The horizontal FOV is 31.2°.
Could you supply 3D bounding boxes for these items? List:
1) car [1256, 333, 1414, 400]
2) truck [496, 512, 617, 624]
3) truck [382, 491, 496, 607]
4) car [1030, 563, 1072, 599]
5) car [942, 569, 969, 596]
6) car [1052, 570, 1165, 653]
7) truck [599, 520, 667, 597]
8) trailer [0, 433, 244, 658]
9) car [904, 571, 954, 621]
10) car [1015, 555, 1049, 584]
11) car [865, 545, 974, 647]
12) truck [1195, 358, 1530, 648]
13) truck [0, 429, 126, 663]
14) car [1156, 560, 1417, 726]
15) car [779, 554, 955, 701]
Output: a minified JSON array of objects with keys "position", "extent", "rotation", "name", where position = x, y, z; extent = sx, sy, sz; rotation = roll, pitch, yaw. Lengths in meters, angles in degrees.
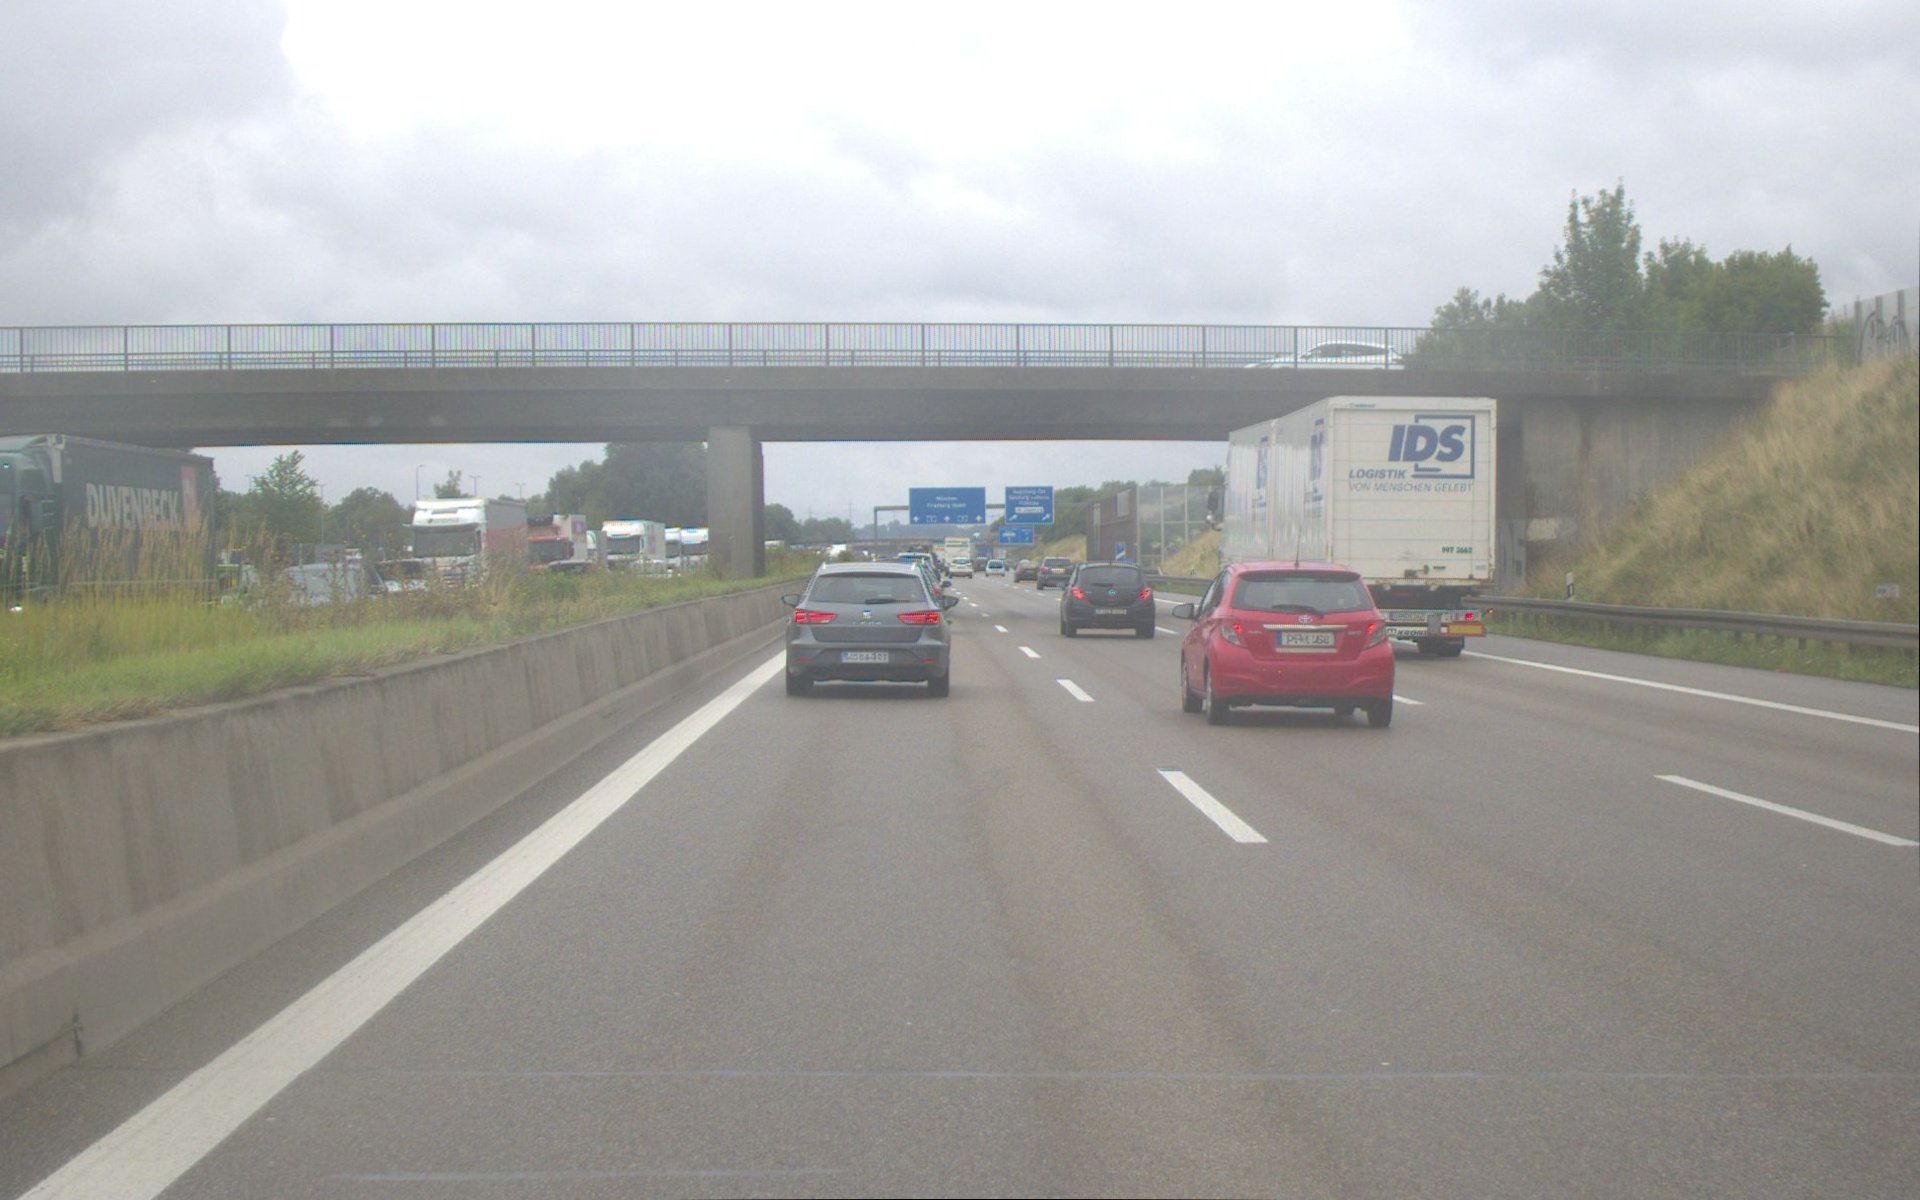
[{"position":[10.506,-6.536,96.421],"extent":[3.986,1.612,1.880],"rotation":[1,0,-13],"name":"car"},{"position":[-18.863,-1.451,161.927],"extent":[4.033,4.927,14.434],"rotation":[1,0,-1],"name":"truck"},{"position":[-18.842,-1.806,124.513],"extent":[3.272,4.031,5.292],"rotation":[1,0,0],"name":"truck"},{"position":[4.482,-0.931,169.804],"extent":[1.845,1.681,4.000],"rotation":[1,0,-2],"name":"car"},{"position":[-0.343,-1.330,262.225],"extent":[1.993,2.007,4.242],"rotation":[1,0,-1],"name":"car"},{"position":[2.836,0.195,66.489],"extent":[1.921,1.516,4.622],"rotation":[0,1,-1],"name":"car"},{"position":[-19.017,-2.350,200.419],"extent":[2.977,4.304,9.669],"rotation":[1,0,0],"name":"truck"},{"position":[-17.356,-1.022,69.556],"extent":[2.757,4.036,14.519],"rotation":[1,0,-1],"name":"trailer"},{"position":[-1.189,-0.161,129.273],"extent":[1.704,1.790,3.855],"rotation":[-1,1,-2],"name":"car"},{"position":[4.585,-1.949,220.074],"extent":[1.993,1.806,4.228],"rotation":[-1,1,0],"name":"car"},{"position":[-0.774,-0.105,66.117],"extent":[1.993,1.854,4.000],"rotation":[-1,1,0],"name":"car"},{"position":[6.700,-1.486,61.145],"extent":[3.283,4.280,19.034],"rotation":[1,0,-1],"name":"truck"},{"position":[-17.322,-0.966,62.485],"extent":[2.757,4.036,6.255],"rotation":[1,0,-1],"name":"truck"},{"position":[3.014,0.350,32.665],"extent":[1.891,1.442,4.685],"rotation":[0,1,-2],"name":"car"},{"position":[-0.996,0.278,37.220],"extent":[1.768,1.462,4.000],"rotation":[1,0,-1],"name":"car"}]
